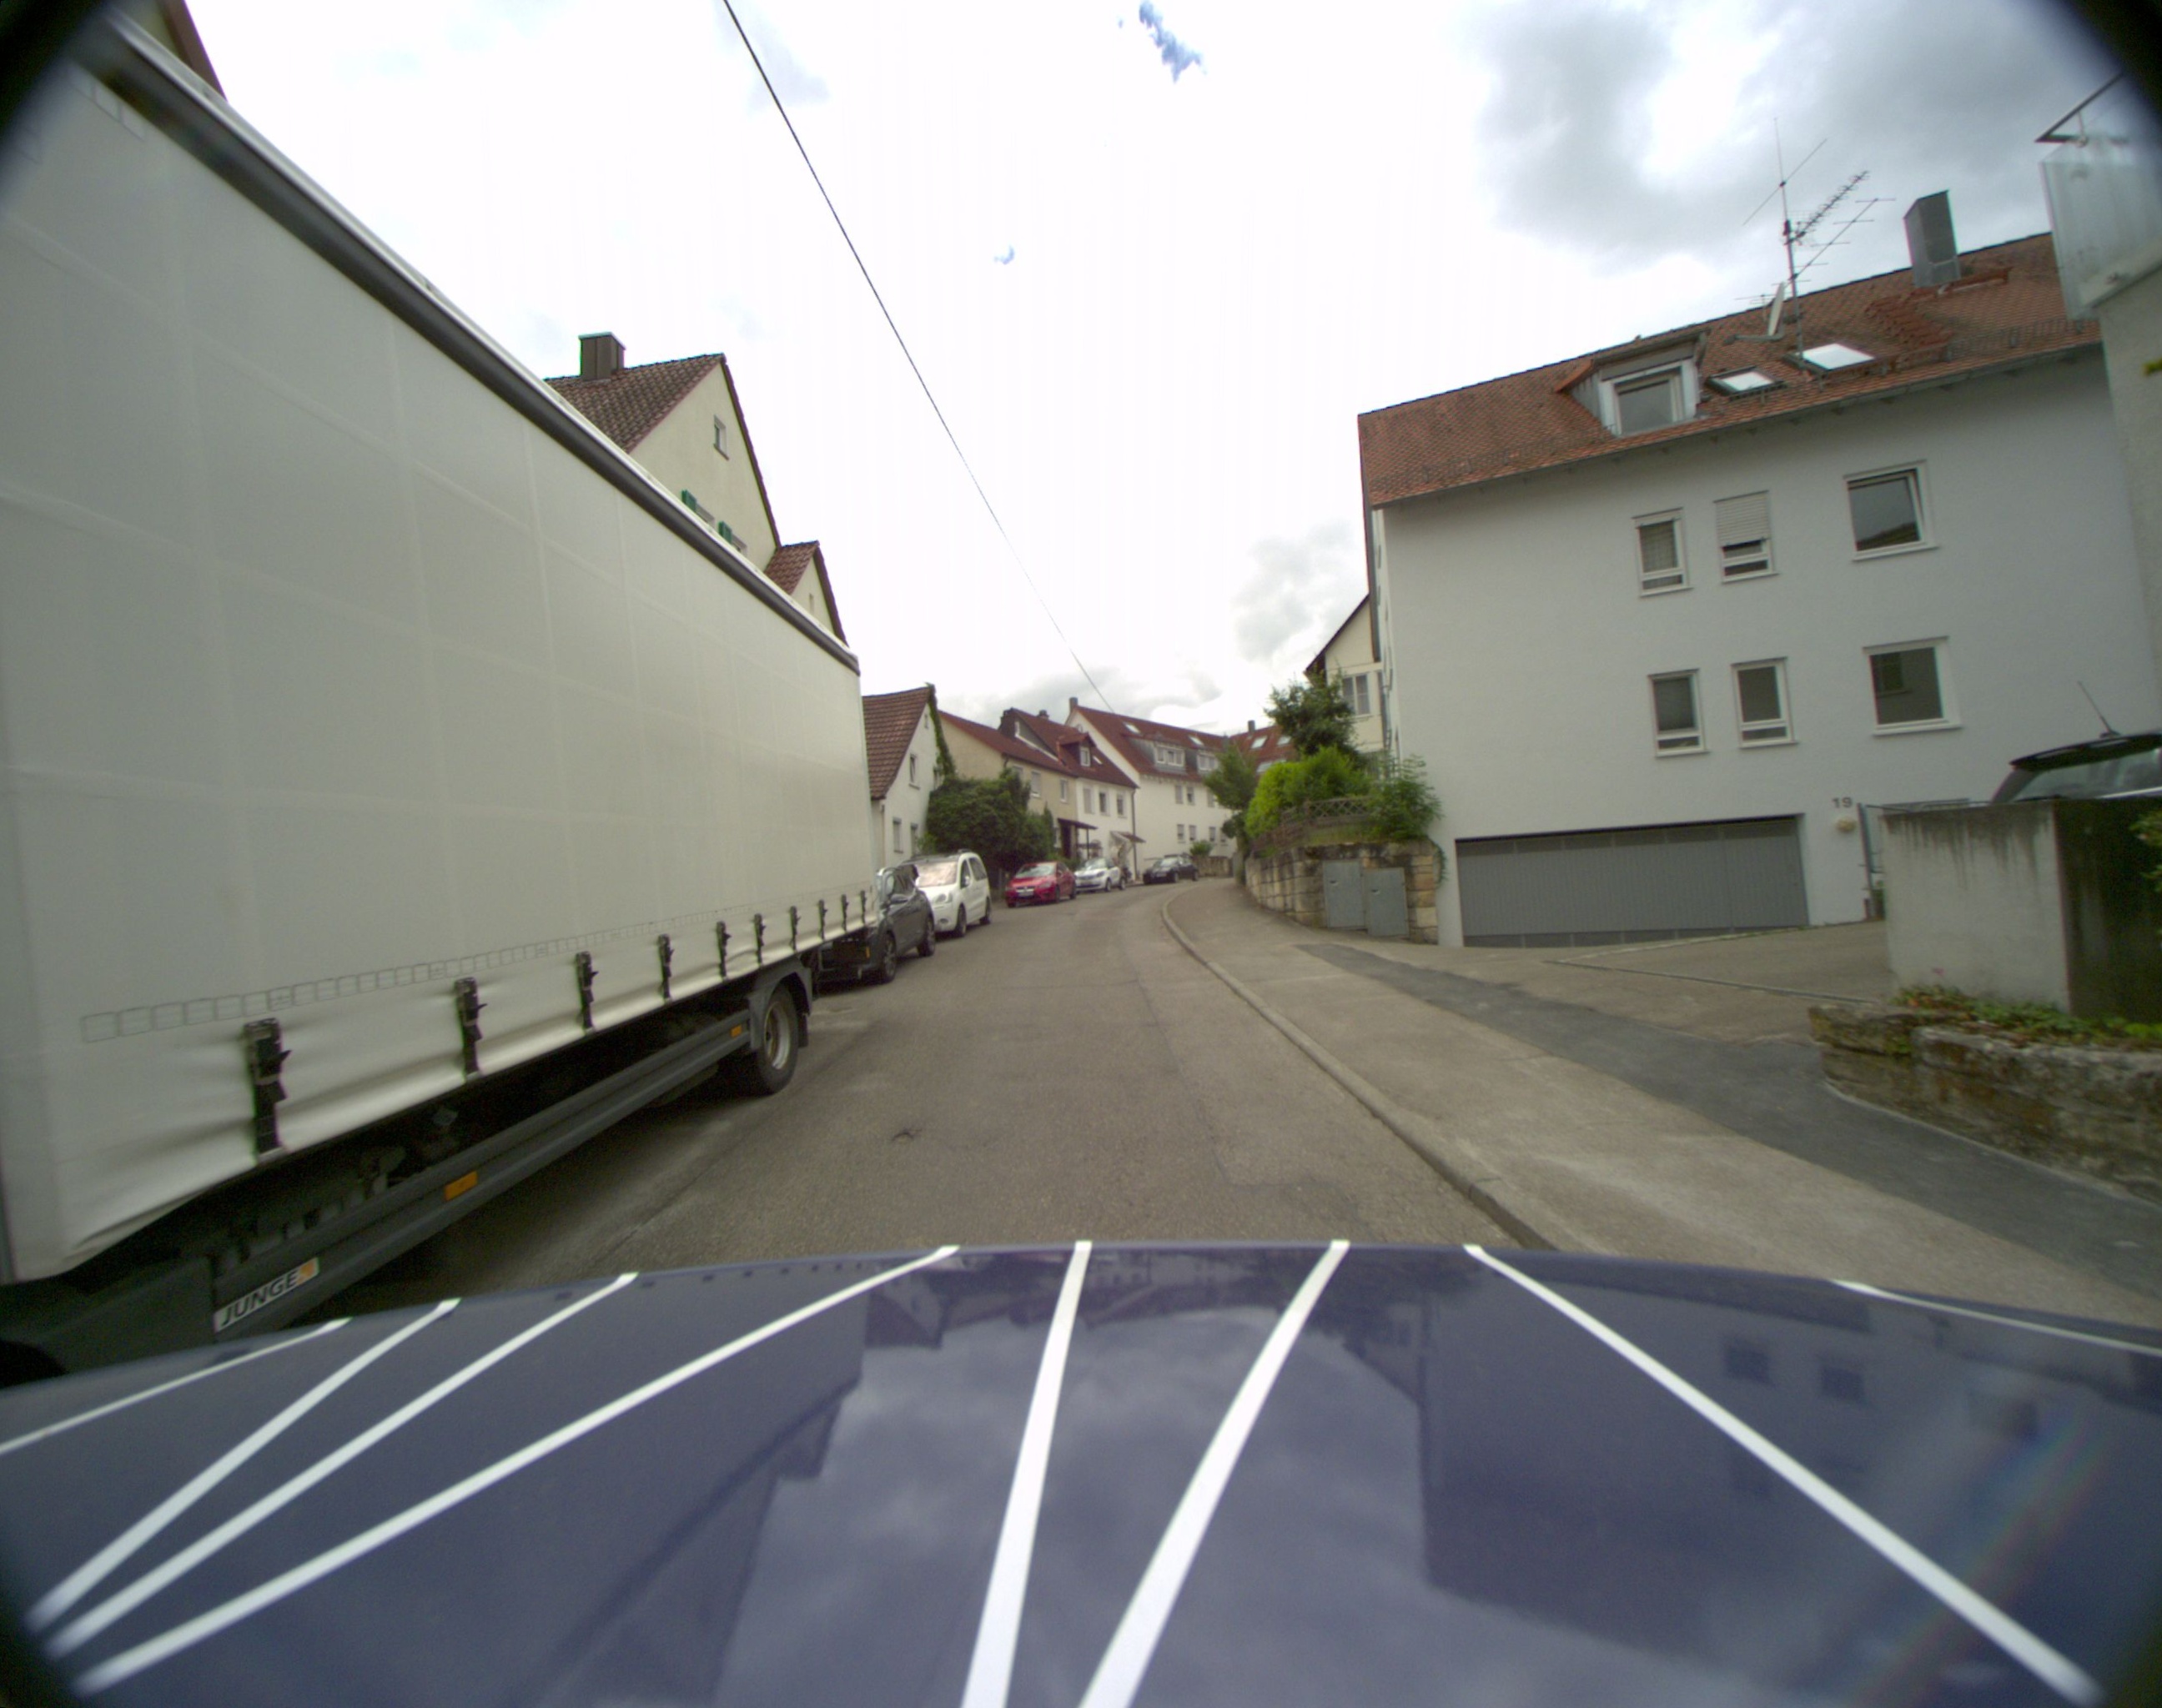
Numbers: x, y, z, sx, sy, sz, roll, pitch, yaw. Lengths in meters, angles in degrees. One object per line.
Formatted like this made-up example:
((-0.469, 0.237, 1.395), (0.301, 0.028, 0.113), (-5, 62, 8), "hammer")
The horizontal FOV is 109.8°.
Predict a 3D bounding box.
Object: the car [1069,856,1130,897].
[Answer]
((0.849, 0.952, 33.341), (1.613, 1.523, 2.901), (-8, -2, 22), "car")

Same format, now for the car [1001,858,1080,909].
((-1.319, 0.980, 26.488), (1.682, 1.443, 3.855), (-5, 0, 12), "car")

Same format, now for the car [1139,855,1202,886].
((4.839, 0.849, 40.573), (1.720, 1.398, 4.010), (-7, -3, 31), "car")

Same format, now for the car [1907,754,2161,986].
((8.599, -0.111, 5.372), (3.409, 1.460, 1.627), (-10, -5, 2), "car")

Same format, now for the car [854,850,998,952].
((-3.201, 0.899, 16.652), (1.839, 1.803, 4.305), (-5, 0, 4), "car")

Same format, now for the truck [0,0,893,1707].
((-3.331, 0.078, 3.520), (2.682, 3.576, 8.105), (-4, 0, 0), "truck")

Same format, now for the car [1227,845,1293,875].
((11.566, 0.357, 48.968), (1.948, 1.629, 4.469), (-9, -6, 44), "car")

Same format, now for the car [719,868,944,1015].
((-3.352, 1.093, 11.116), (1.737, 1.497, 4.051), (-5, 1, 1), "car")
